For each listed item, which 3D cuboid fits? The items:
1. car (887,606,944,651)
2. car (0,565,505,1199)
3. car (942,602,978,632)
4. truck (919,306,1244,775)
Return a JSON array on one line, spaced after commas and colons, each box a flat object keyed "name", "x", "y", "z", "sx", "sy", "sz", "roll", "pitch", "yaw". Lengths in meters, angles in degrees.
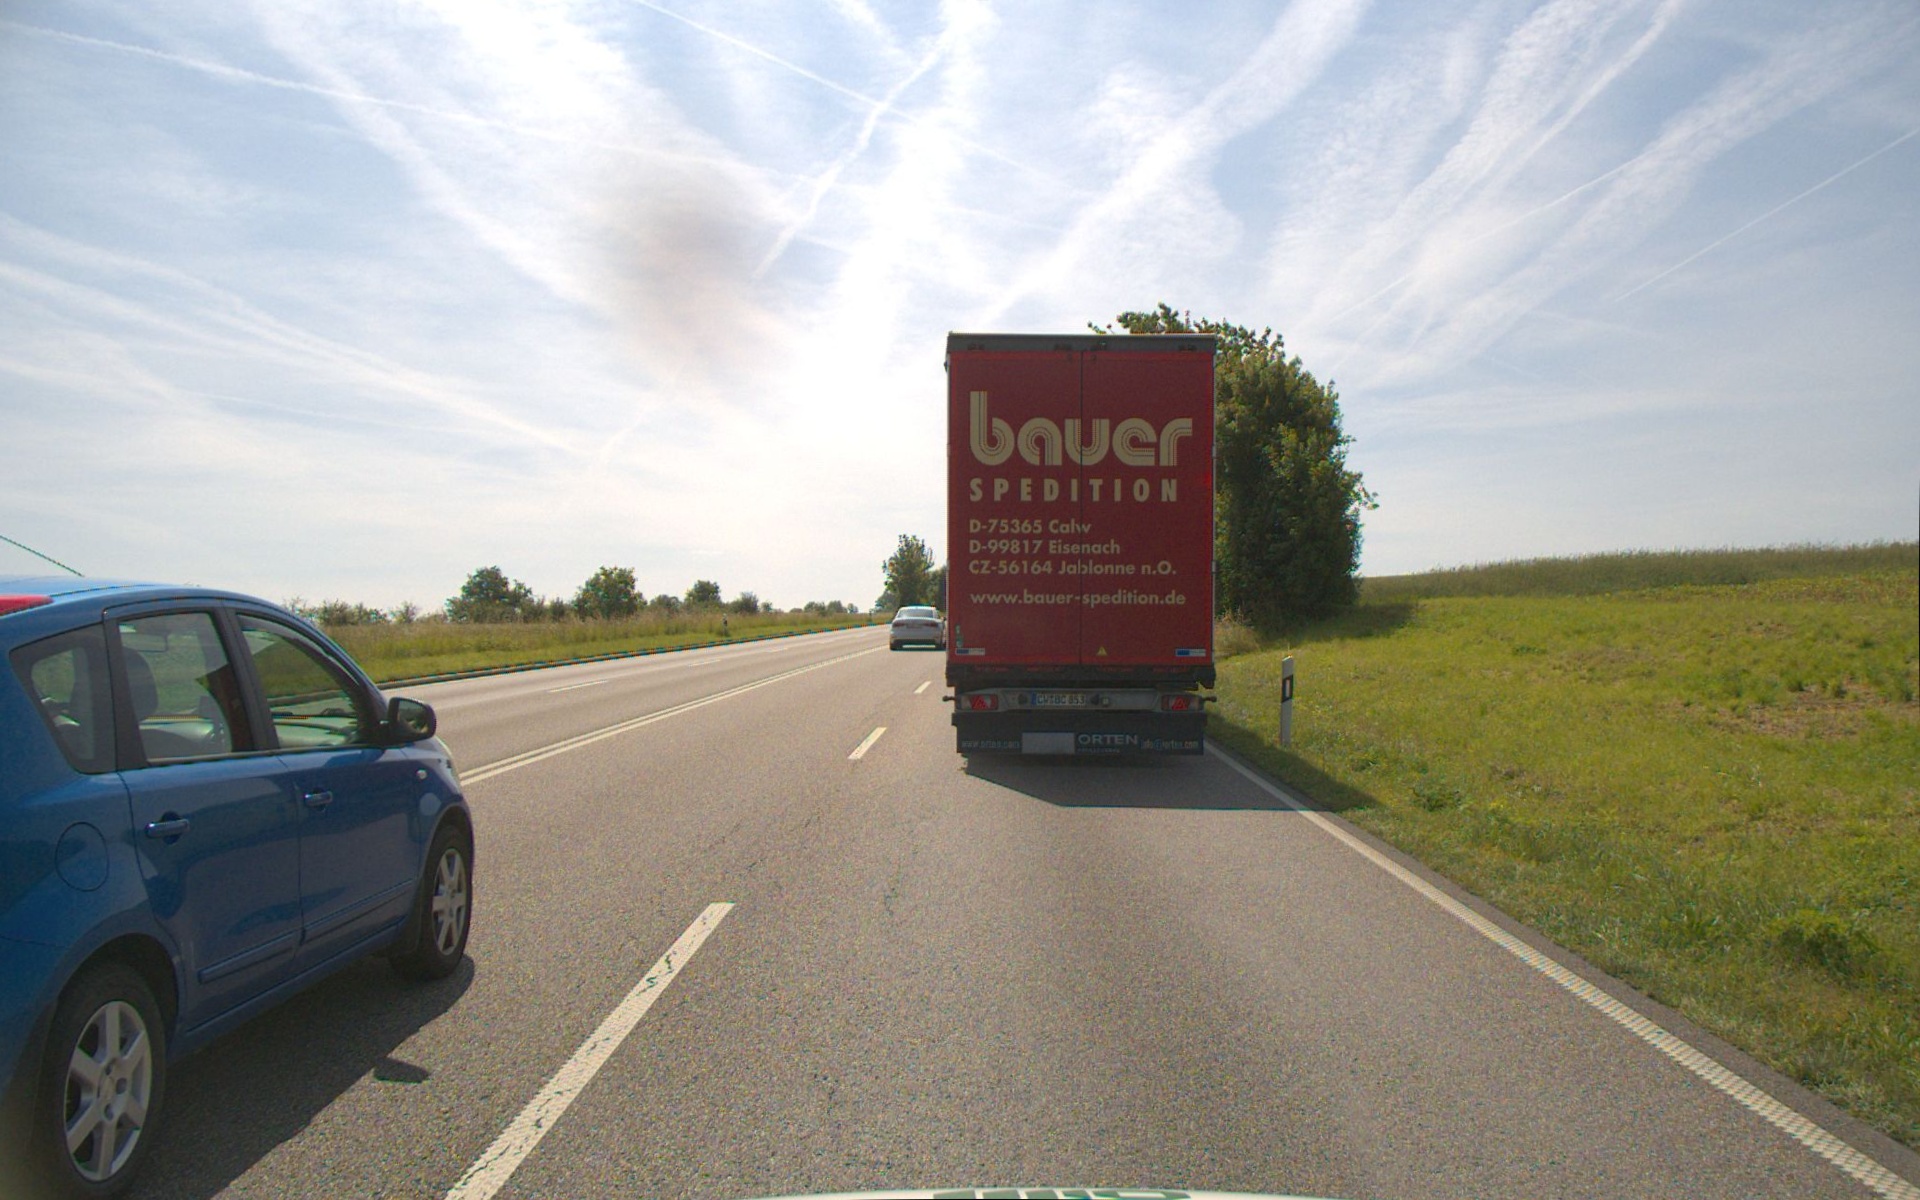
[{"name": "car", "x": -1.450, "y": 0.918, "z": 55.252, "sx": 1.668, "sy": 1.400, "sz": 4.604, "roll": 1, "pitch": 0, "yaw": 1}, {"name": "car", "x": -2.765, "y": 0.701, "z": 5.117, "sx": 1.598, "sy": 1.558, "sz": 3.915, "roll": 0, "pitch": 0, "yaw": 0}, {"name": "car", "x": 0.038, "y": 0.877, "z": 88.490, "sx": 1.783, "sy": 1.498, "sz": 4.789, "roll": 1, "pitch": 0, "yaw": 1}, {"name": "truck", "x": 0.981, "y": -0.536, "z": 23.429, "sx": 2.946, "sy": 4.253, "sz": 16.710, "roll": 0, "pitch": 0, "yaw": -1}]
